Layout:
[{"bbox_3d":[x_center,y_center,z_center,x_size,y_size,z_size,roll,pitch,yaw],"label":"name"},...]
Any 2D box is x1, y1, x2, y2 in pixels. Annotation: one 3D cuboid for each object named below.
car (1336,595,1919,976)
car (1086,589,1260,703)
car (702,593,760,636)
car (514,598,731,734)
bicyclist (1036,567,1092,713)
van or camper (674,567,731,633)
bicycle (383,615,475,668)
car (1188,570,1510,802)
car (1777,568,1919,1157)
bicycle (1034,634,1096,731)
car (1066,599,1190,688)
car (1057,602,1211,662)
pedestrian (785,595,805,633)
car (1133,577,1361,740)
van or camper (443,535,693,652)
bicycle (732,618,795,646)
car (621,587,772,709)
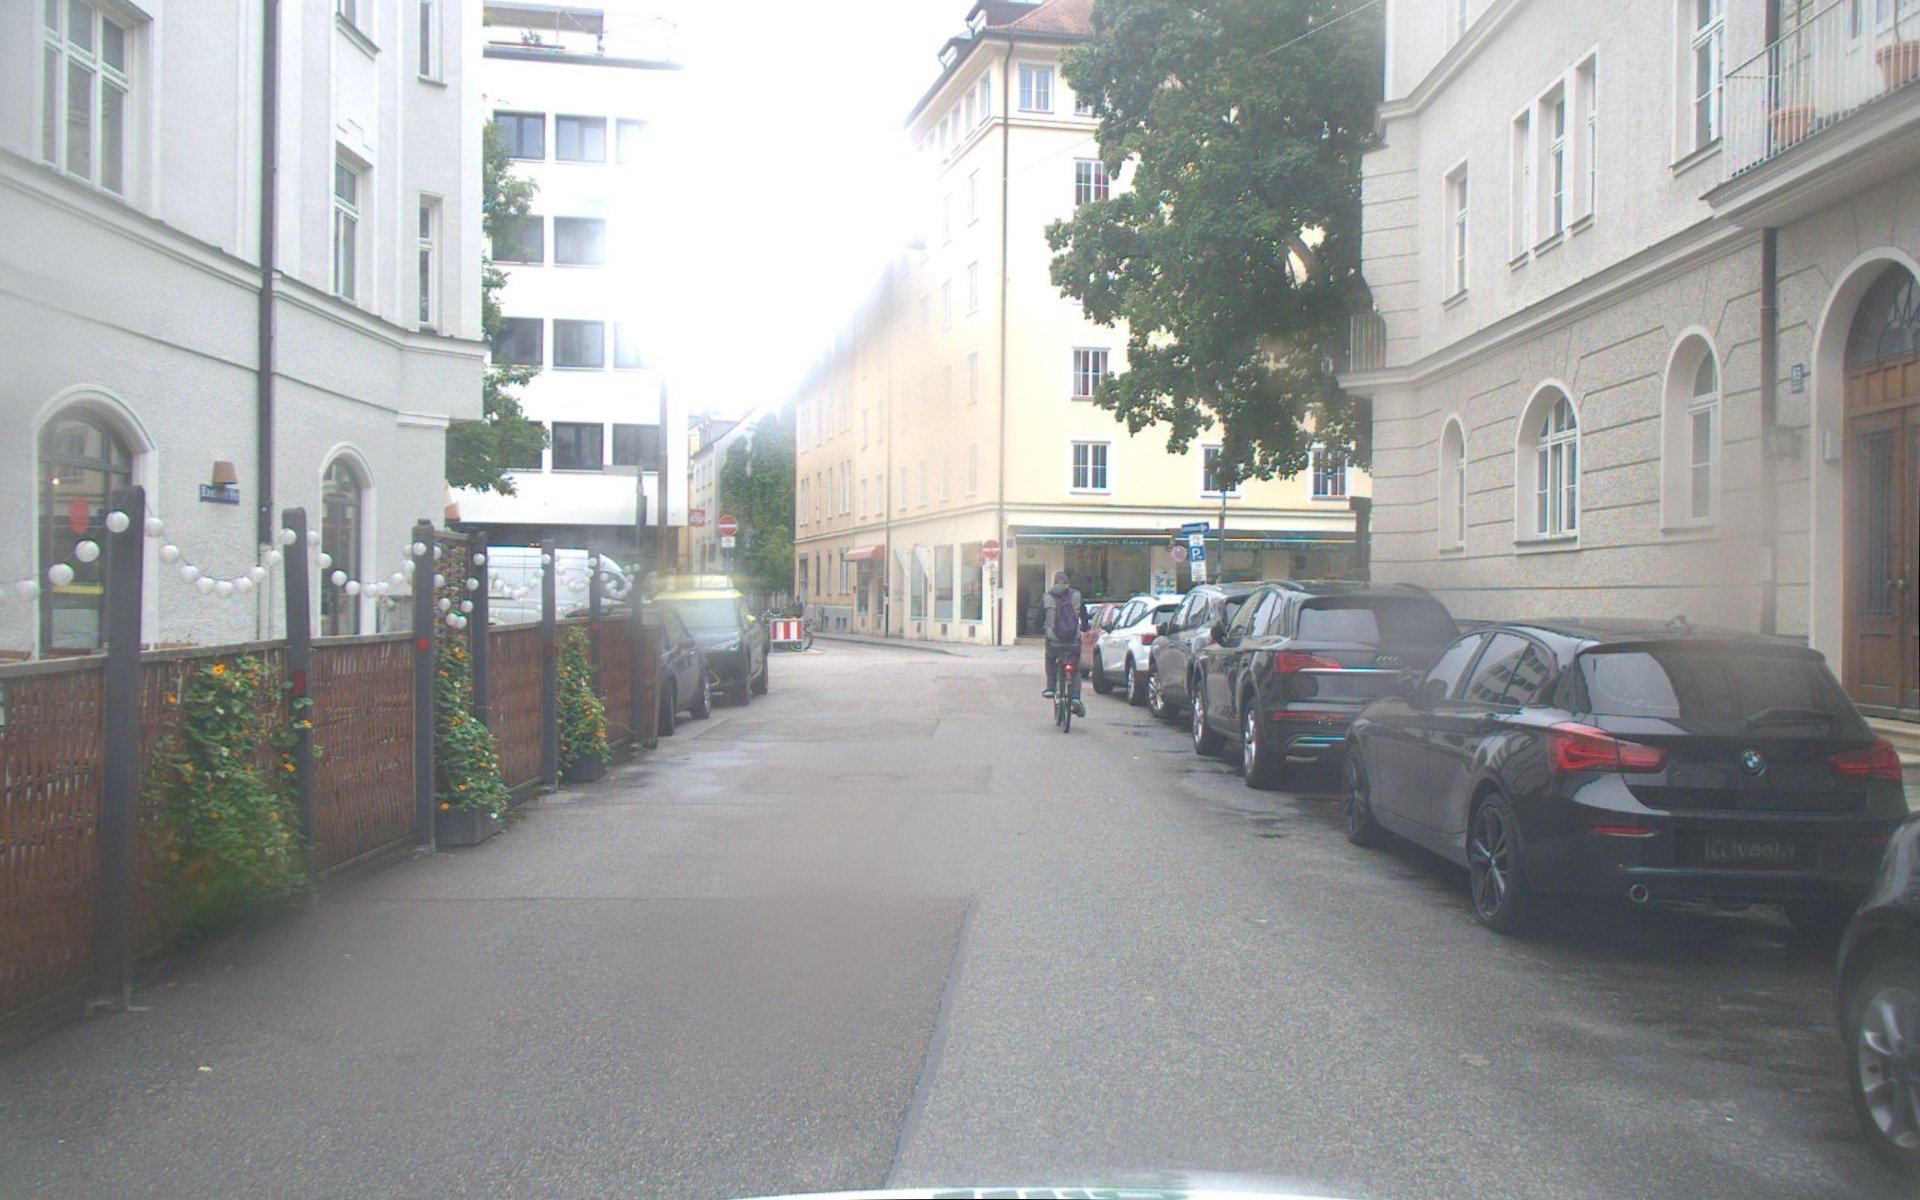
[{"bbox_3d":[3.293,0.740,8.749,1.671,1.496,4.201,1,0,0],"label":"car"},{"bbox_3d":[3.078,0.632,24.639,1.716,1.522,3.905,1,0,-6],"label":"car"},{"bbox_3d":[-8.747,0.526,62.949,1.801,1.562,3.985,1,0,-14],"label":"car"},{"bbox_3d":[-3.848,0.703,19.498,1.672,1.414,4.000,-1,0,1],"label":"car"},{"bbox_3d":[1.186,0.446,18.924,0.593,1.635,0.757,1,0,1],"label":"bicyclist"},{"bbox_3d":[-10.650,0.002,68.197,1.959,2.584,4.745,1,0,-13],"label":"van or camper"},{"bbox_3d":[-10.273,0.805,31.968,1.541,0.964,0.890,2,-2,-29],"label":"bicycle"},{"bbox_3d":[3.199,0.629,14.496,1.741,1.664,4.375,2,0,0],"label":"car"},{"bbox_3d":[3.403,0.723,3.281,1.622,1.552,3.635,2,0,-3],"label":"car"},{"bbox_3d":[1.180,0.919,18.864,0.626,1.022,1.574,1,0,1],"label":"bicycle"},{"bbox_3d":[3.007,0.741,30.324,1.636,1.460,4.211,2,0,-3],"label":"car"},{"bbox_3d":[4.634,0.883,44.376,3.906,1.441,1.820,1,-4,-1],"label":"car"},{"bbox_3d":[-7.996,0.679,80.080,0.863,1.809,0.771,1,0,-14],"label":"pedestrian"},{"bbox_3d":[3.334,0.627,20.041,1.754,1.743,4.423,1,0,-3],"label":"car"},{"bbox_3d":[-9.505,-0.116,40.492,5.799,2.724,1.868,1,-2,-11],"label":"van or camper"},{"bbox_3d":[-6.153,1.000,51.728,1.882,0.878,0.615,1,0,-19],"label":"bicycle"},{"bbox_3d":[-3.810,0.658,24.488,1.642,1.625,3.944,-1,0,-1],"label":"car"}]
